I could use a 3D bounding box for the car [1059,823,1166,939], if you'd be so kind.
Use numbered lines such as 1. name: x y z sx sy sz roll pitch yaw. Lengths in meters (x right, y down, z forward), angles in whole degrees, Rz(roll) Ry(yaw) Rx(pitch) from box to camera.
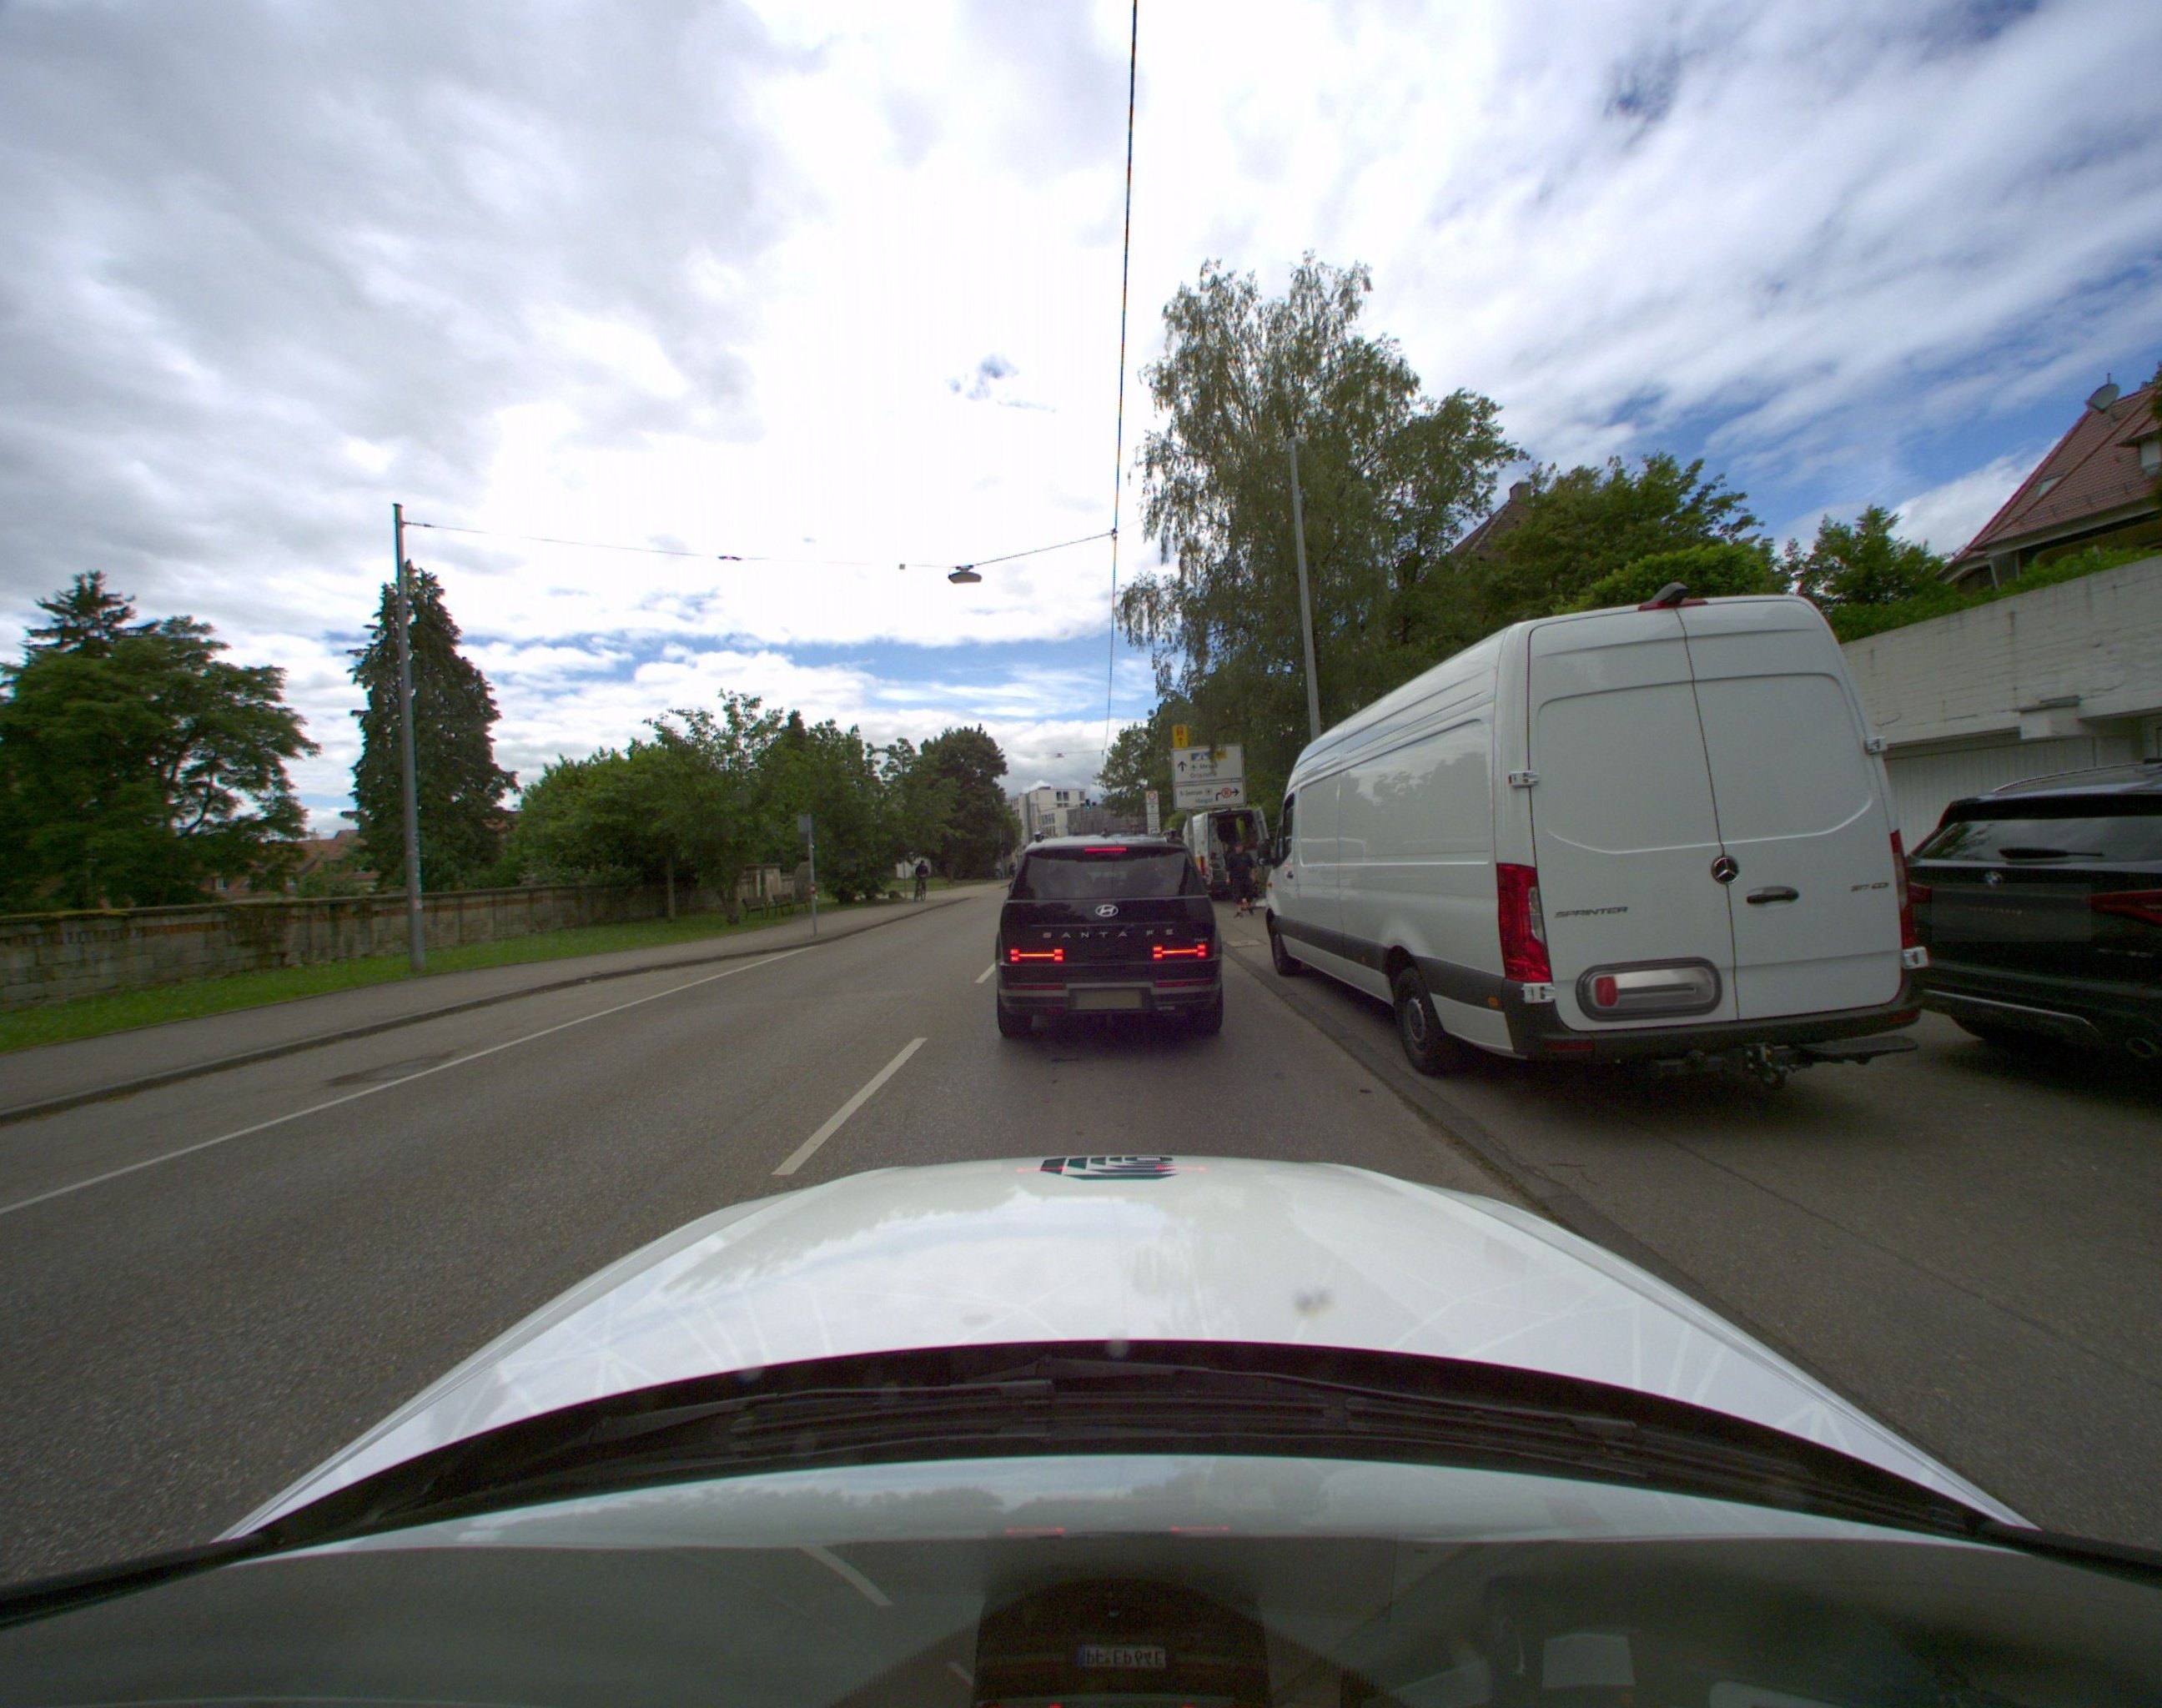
1. car: 0.616 0.495 16.456 1.890 2.042 3.995 0 -1 2

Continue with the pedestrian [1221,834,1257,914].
1. pedestrian: 3.501 0.442 18.014 0.745 1.721 0.795 -1 -1 14

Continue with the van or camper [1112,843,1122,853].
1. van or camper: 7.698 -1.194 172.586 1.791 1.999 3.821 0 -1 -2

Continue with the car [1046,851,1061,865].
1. car: -4.875 0.762 144.530 2.328 2.315 4.950 -3 0 -4

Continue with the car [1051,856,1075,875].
1. car: -1.512 0.989 71.130 1.750 1.403 4.416 -5 -1 2

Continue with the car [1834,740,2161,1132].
1. car: 6.792 0.215 4.052 4.365 1.675 1.696 -4 -1 2

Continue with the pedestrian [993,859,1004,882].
1. pedestrian: -6.449 1.277 63.696 0.764 1.748 0.904 -2 -1 1

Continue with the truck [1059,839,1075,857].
1. truck: -3.230 -1.307 187.770 3.102 3.859 9.606 -3 0 -4

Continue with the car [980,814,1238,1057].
1. car: 0.265 0.618 7.993 1.890 1.776 3.995 0 -1 2

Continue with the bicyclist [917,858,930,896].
1. bicyclist: -7.076 1.040 36.614 0.486 1.684 0.588 0 -1 1

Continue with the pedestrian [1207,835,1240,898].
1. pedestrian: 3.896 0.338 22.341 0.732 1.643 0.803 -4 -1 8

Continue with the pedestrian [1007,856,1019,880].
1. pedestrian: -5.743 1.170 69.066 0.826 2.014 1.048 0 -1 4

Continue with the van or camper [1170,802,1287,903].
1. van or camper: 4.342 0.018 25.314 2.332 2.494 6.603 -6 -1 1

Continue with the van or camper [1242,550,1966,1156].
1. van or camper: 3.064 0.018 7.056 1.984 2.625 6.546 -6 -1 2

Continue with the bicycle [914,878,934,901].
1. bicycle: -7.073 1.594 36.655 0.493 0.964 1.749 0 -1 2
